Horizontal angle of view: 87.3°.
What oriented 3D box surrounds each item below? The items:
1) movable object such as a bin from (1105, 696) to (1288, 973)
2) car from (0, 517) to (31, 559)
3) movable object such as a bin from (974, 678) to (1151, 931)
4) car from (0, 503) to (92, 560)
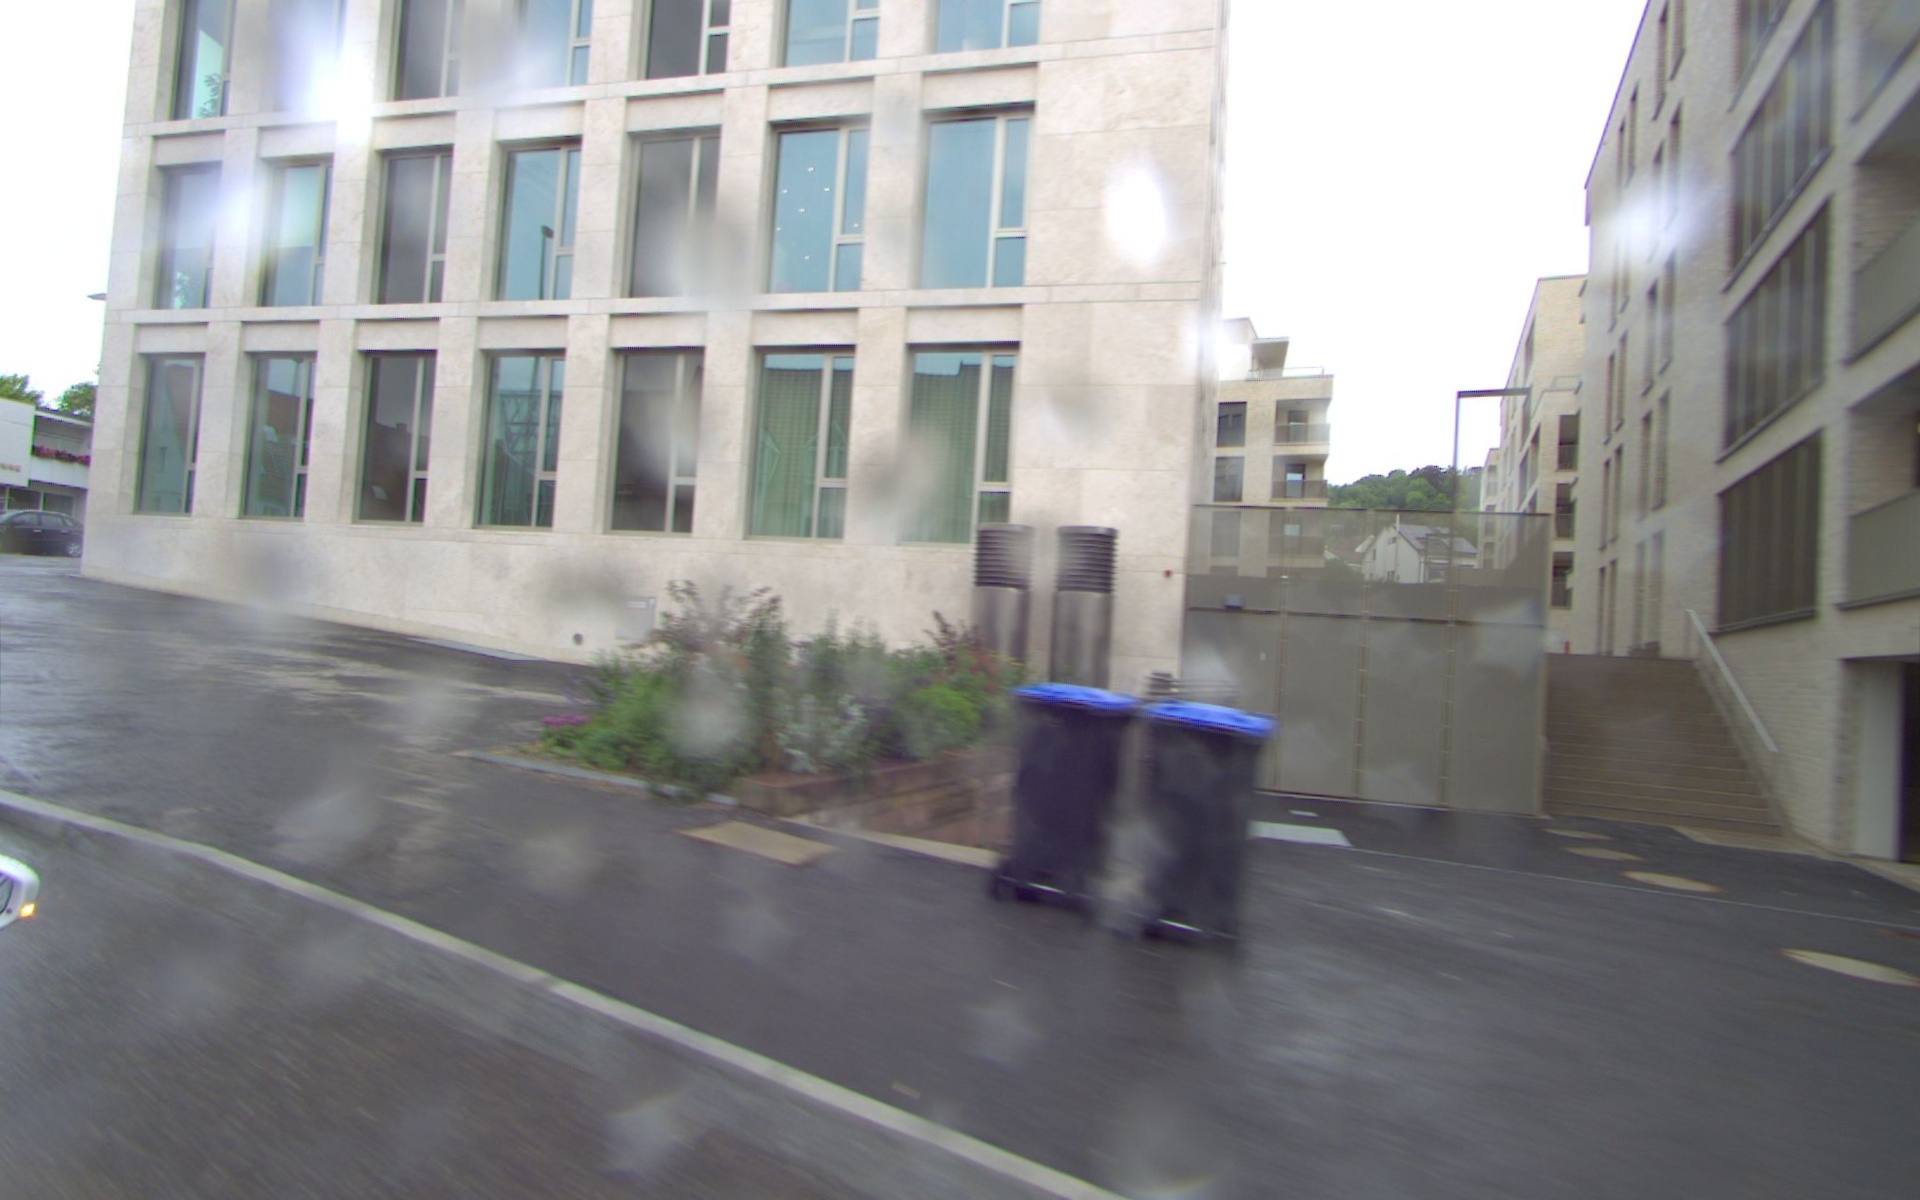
[{"bbox_3d":[1.097,1.020,4.608,0.569,1.075,0.597,7,0,27],"label":"movable object such as a bin"},{"bbox_3d":[-38.307,-2.482,38.180,1.745,1.538,4.186,2,-1,13],"label":"car"},{"bbox_3d":[0.518,0.961,4.959,0.569,1.075,0.597,7,0,27],"label":"movable object such as a bin"},{"bbox_3d":[-35.208,-2.558,37.337,1.745,1.838,4.316,2,-1,13],"label":"car"}]
